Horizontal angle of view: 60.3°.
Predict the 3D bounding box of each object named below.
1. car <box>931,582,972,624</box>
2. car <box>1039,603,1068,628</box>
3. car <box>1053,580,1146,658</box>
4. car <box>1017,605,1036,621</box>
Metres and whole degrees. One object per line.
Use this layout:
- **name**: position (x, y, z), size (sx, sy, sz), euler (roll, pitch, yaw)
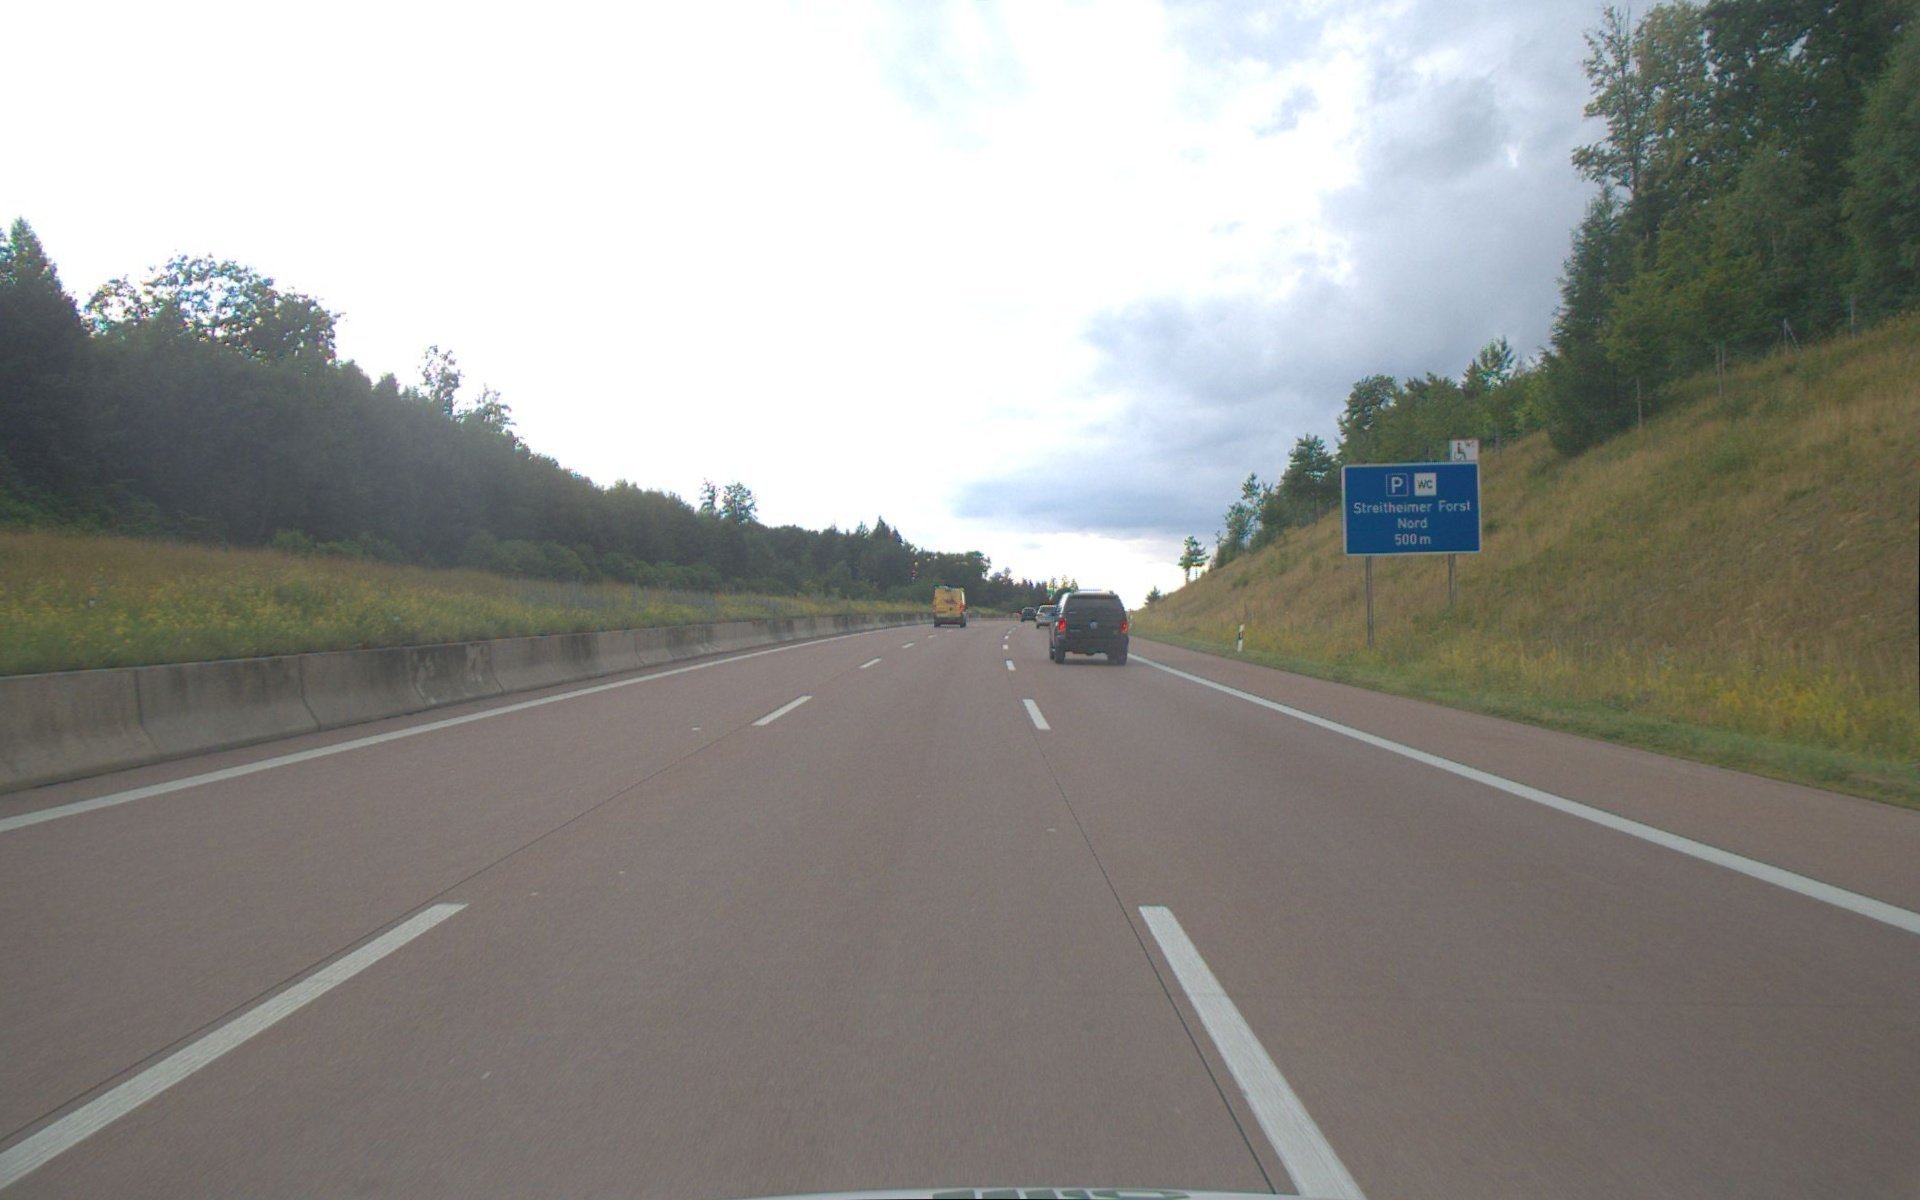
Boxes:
- **car**: position (-0.571, 0.241, 113.738), size (2.407, 2.754, 5.616), euler (0, -1, 4)
- **car**: position (6.468, 1.054, 114.734), size (1.936, 1.677, 4.620), euler (1, -1, 3)
- **car**: position (3.628, 0.531, 43.860), size (2.002, 1.930, 5.576), euler (0, -1, 0)
- **car**: position (8.007, 1.587, 199.199), size (1.847, 1.795, 5.001), euler (0, -1, 8)
